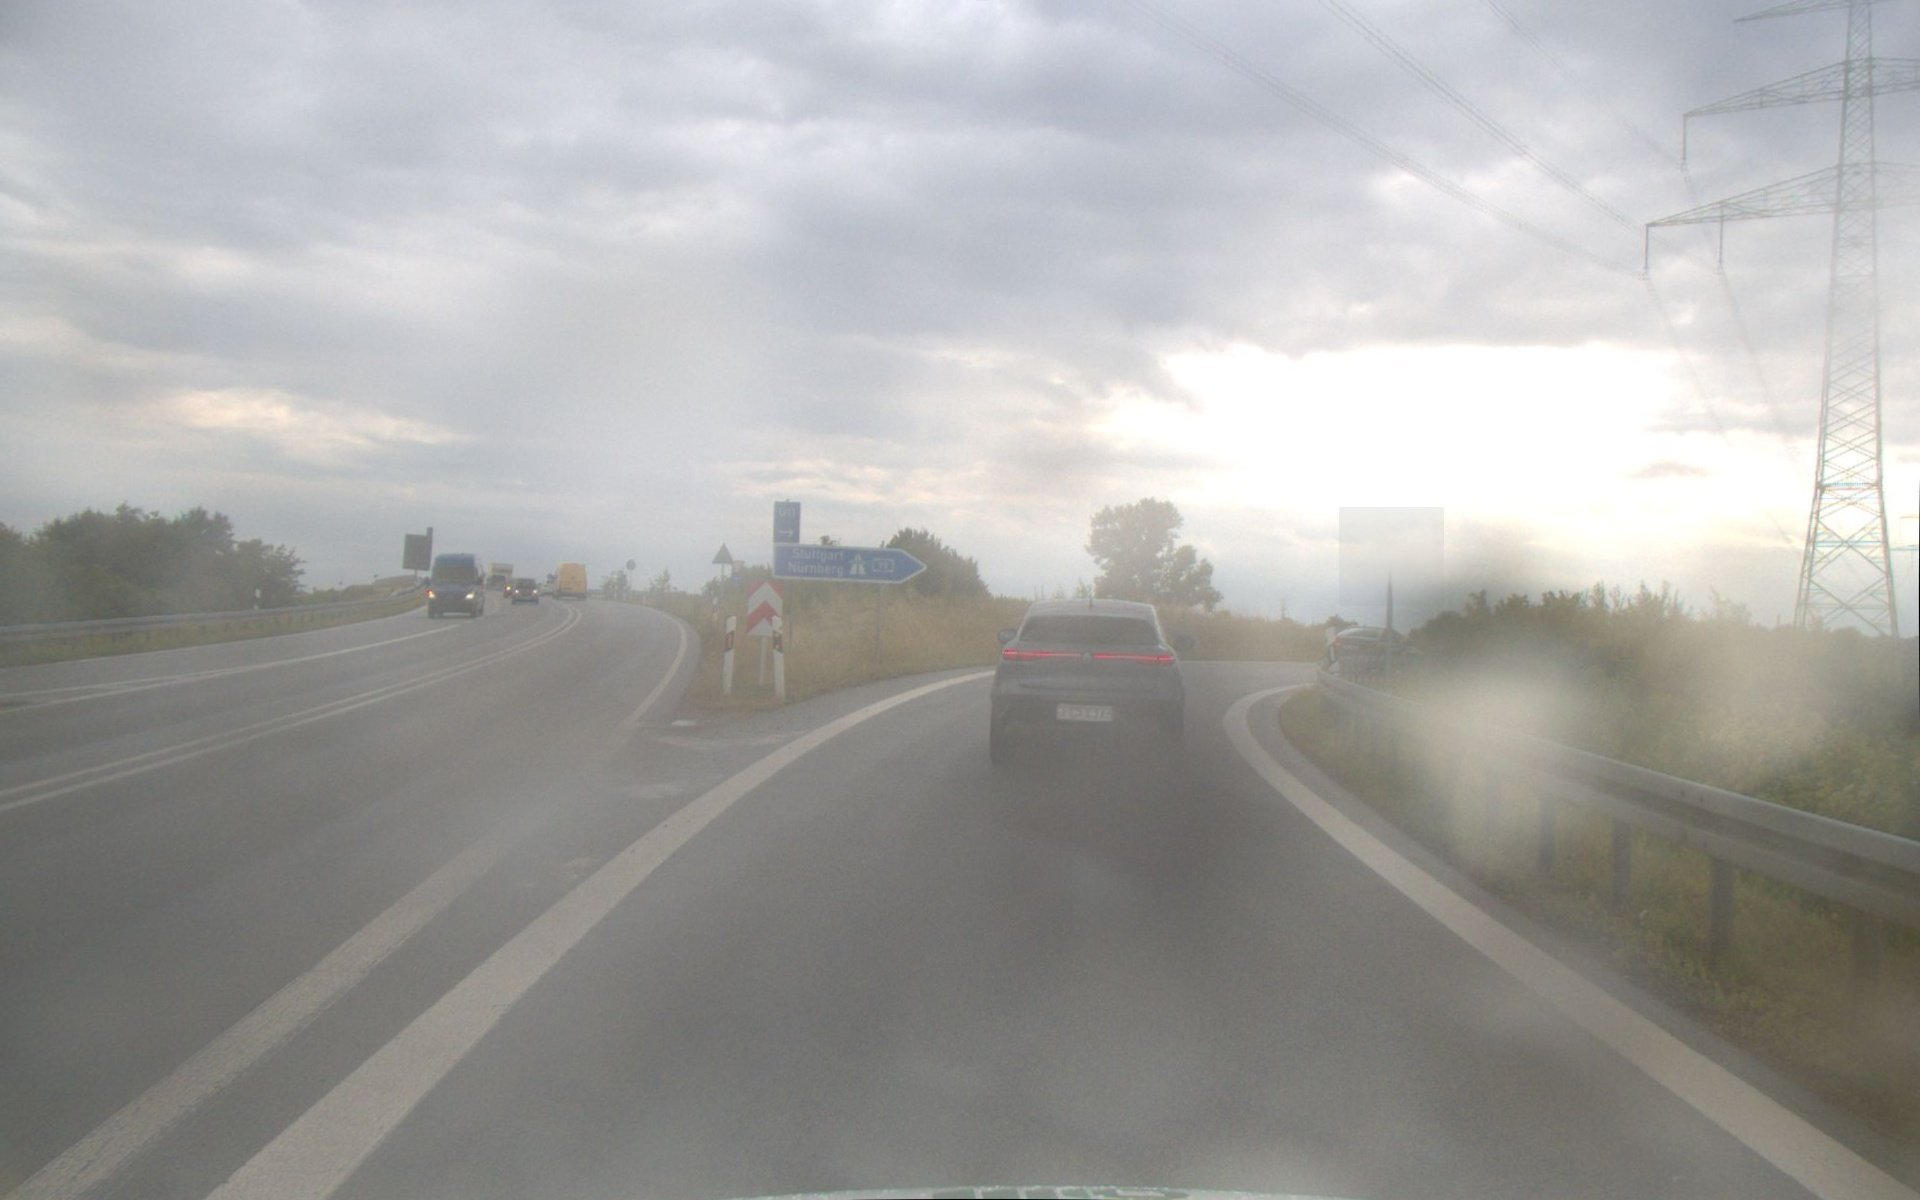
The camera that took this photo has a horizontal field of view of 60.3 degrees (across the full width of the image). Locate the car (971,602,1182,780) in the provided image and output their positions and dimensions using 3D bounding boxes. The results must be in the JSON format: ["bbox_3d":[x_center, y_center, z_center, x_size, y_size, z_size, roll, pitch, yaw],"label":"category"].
[{"bbox_3d":[1.129,0.806,15.895,1.754,1.466,4.002,1,-1,4],"label":"car"}]

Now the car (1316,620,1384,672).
[{"bbox_3d":[12.678,1.519,53.603,1.754,1.466,4.001,3,-2,18],"label":"car"}]

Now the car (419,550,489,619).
[{"bbox_3d":[-21.766,-0.656,71.393,2.311,2.748,6.971,2,0,-13],"label":"car"}]

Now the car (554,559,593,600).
[{"bbox_3d":[-27.624,-1.519,118.113,2.530,2.772,7.170,1,1,-14],"label":"car"}]

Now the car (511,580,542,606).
[{"bbox_3d":[-25.815,-0.427,98.497,1.715,1.389,4.034,2,1,-15],"label":"car"}]

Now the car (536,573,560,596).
[{"bbox_3d":[-33.629,-1.251,135.041,1.762,1.717,3.983,1,-2,-15],"label":"car"}]
